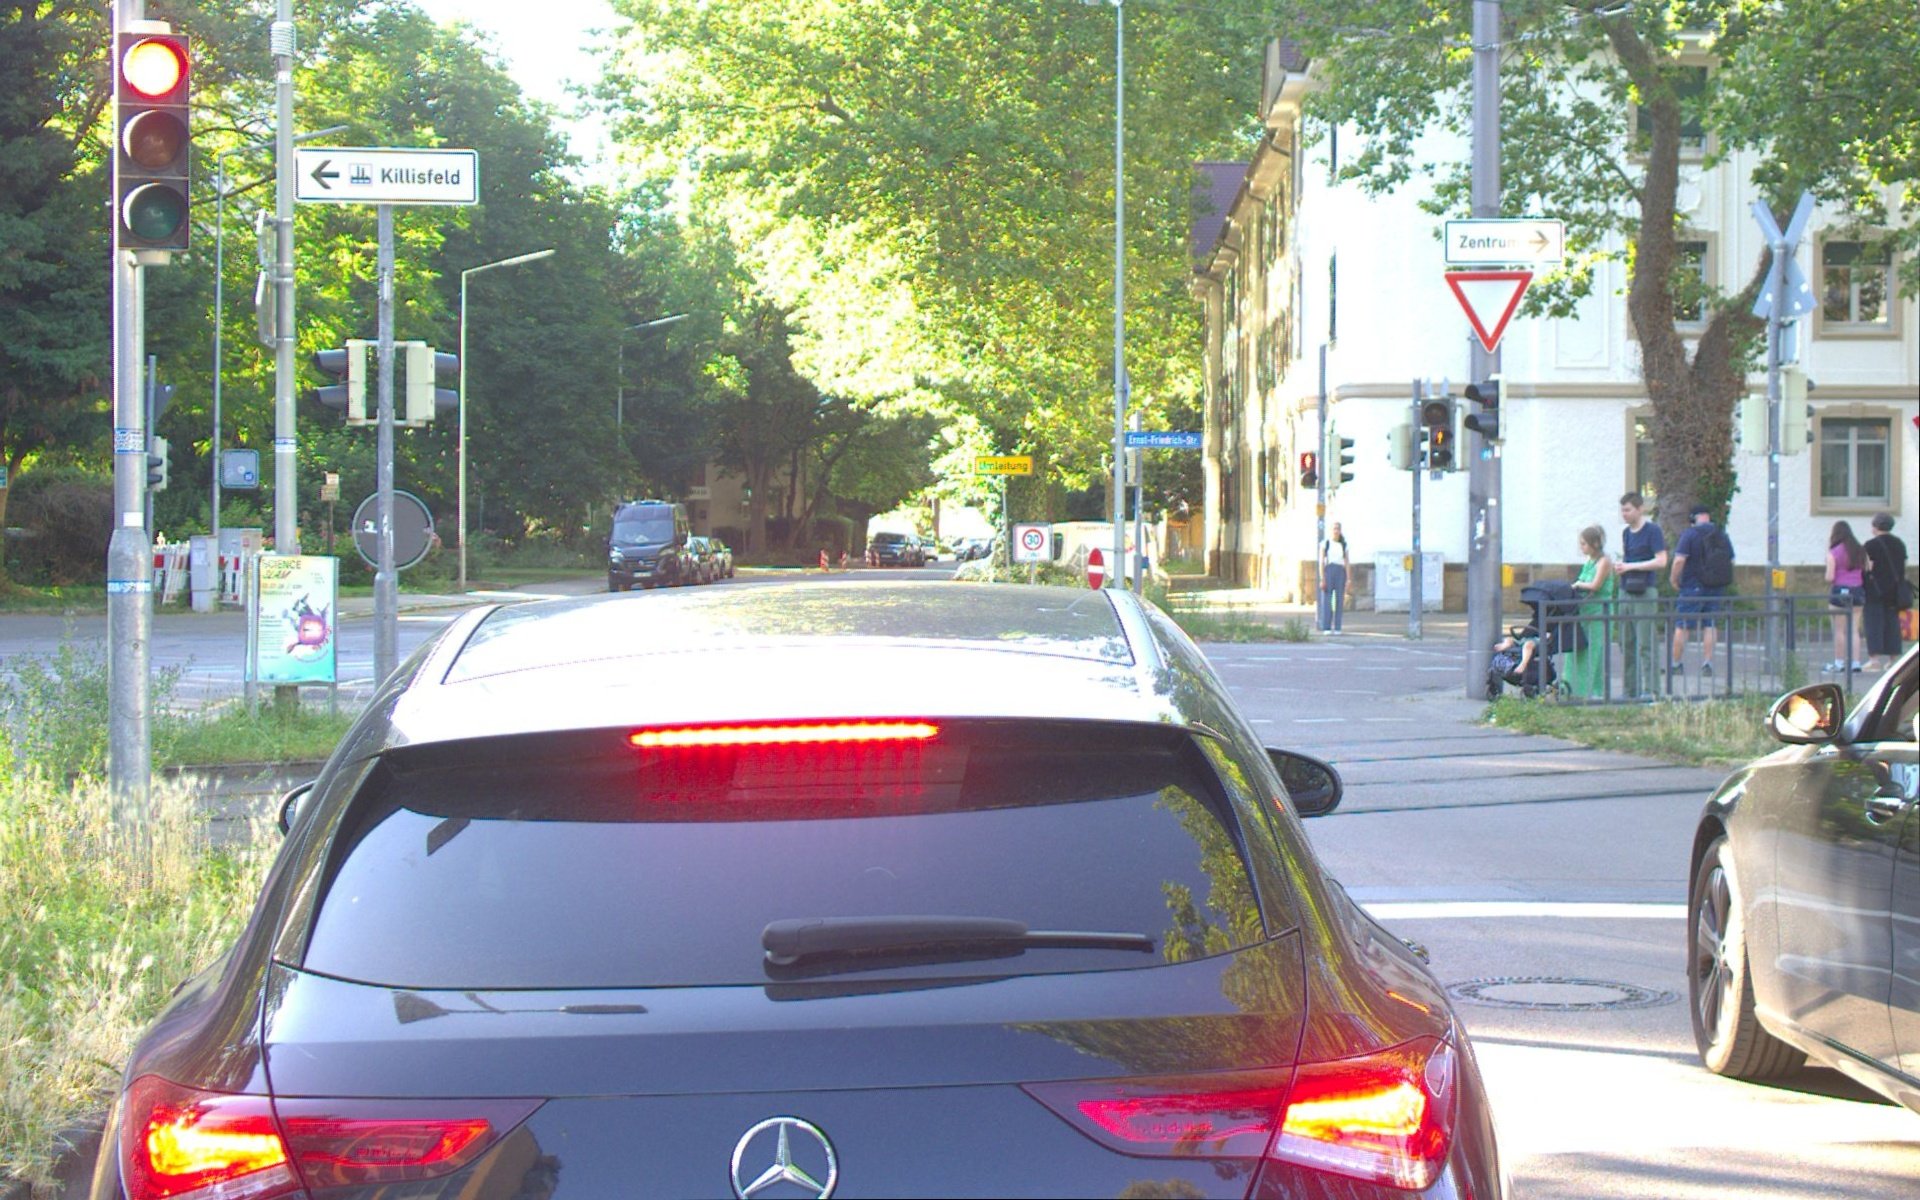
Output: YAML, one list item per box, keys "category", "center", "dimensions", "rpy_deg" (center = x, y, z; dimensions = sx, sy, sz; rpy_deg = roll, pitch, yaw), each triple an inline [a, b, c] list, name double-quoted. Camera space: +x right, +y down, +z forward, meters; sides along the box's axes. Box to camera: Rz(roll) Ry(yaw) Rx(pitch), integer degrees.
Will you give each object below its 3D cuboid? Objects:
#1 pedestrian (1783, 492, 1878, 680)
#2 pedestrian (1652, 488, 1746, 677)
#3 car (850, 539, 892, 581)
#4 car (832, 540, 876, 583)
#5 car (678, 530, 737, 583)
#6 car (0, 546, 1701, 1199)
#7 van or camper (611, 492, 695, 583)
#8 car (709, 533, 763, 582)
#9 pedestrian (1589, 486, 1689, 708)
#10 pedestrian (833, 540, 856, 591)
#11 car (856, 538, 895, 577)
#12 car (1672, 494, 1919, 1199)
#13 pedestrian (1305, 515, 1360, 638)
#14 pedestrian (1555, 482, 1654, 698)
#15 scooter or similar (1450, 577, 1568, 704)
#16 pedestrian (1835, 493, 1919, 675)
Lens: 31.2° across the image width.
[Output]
- category: "pedestrian"
  center: [9.024, -0.148, 35.676]
  dimensions: [0.705, 1.911, 0.839]
  rpy_deg: [1, 0, -4]
- category: "pedestrian"
  center: [7.591, -0.181, 35.338]
  dimensions: [0.705, 1.911, 0.839]
  rpy_deg: [1, 0, -4]
- category: "car"
  center: [-3.875, -1.742, 150.390]
  dimensions: [1.733, 1.759, 4.019]
  rpy_deg: [1, 1, -1]
- category: "car"
  center: [-4.477, -1.641, 145.515]
  dimensions: [1.733, 1.759, 4.019]
  rpy_deg: [1, 1, -1]
- category: "car"
  center: [-8.614, -1.478, 117.575]
  dimensions: [1.733, 1.759, 4.085]
  rpy_deg: [1, 1, -1]
- category: "car"
  center: [-0.210, 0.726, 5.374]
  dimensions: [1.889, 1.445, 4.001]
  rpy_deg: [1, 3, 1]
- category: "van or camper"
  center: [-8.880, -1.798, 99.745]
  dimensions: [1.993, 2.532, 4.651]
  rpy_deg: [1, 1, 0]
- category: "car"
  center: [-8.224, -1.561, 126.410]
  dimensions: [1.733, 1.759, 3.971]
  rpy_deg: [1, 1, -1]
- category: "pedestrian"
  center: [5.944, -0.032, 30.126]
  dimensions: [0.682, 1.911, 0.707]
  rpy_deg: [1, 0, -2]
- category: "pedestrian"
  center: [-4.363, -1.319, 130.033]
  dimensions: [0.705, 1.911, 0.839]
  rpy_deg: [1, 0, -10]
- category: "car"
  center: [-3.897, -1.964, 158.472]
  dimensions: [1.733, 1.759, 4.019]
  rpy_deg: [1, 1, -1]
- category: "car"
  center: [2.900, 0.582, 7.278]
  dimensions: [1.889, 1.485, 4.382]
  rpy_deg: [1, 3, 1]
- category: "pedestrian"
  center: [5.866, -0.375, 54.162]
  dimensions: [0.705, 1.911, 0.839]
  rpy_deg: [1, 0, -4]
- category: "pedestrian"
  center: [5.786, -0.094, 30.897]
  dimensions: [0.682, 1.911, 0.707]
  rpy_deg: [1, 0, -4]
- category: "scooter or similar"
  center: [4.847, 0.351, 30.396]
  dimensions: [0.828, 1.101, 0.809]
  rpy_deg: [1, 0, -6]
- category: "pedestrian"
  center: [9.835, -0.177, 36.676]
  dimensions: [0.705, 1.911, 0.839]
  rpy_deg: [1, 0, -4]
